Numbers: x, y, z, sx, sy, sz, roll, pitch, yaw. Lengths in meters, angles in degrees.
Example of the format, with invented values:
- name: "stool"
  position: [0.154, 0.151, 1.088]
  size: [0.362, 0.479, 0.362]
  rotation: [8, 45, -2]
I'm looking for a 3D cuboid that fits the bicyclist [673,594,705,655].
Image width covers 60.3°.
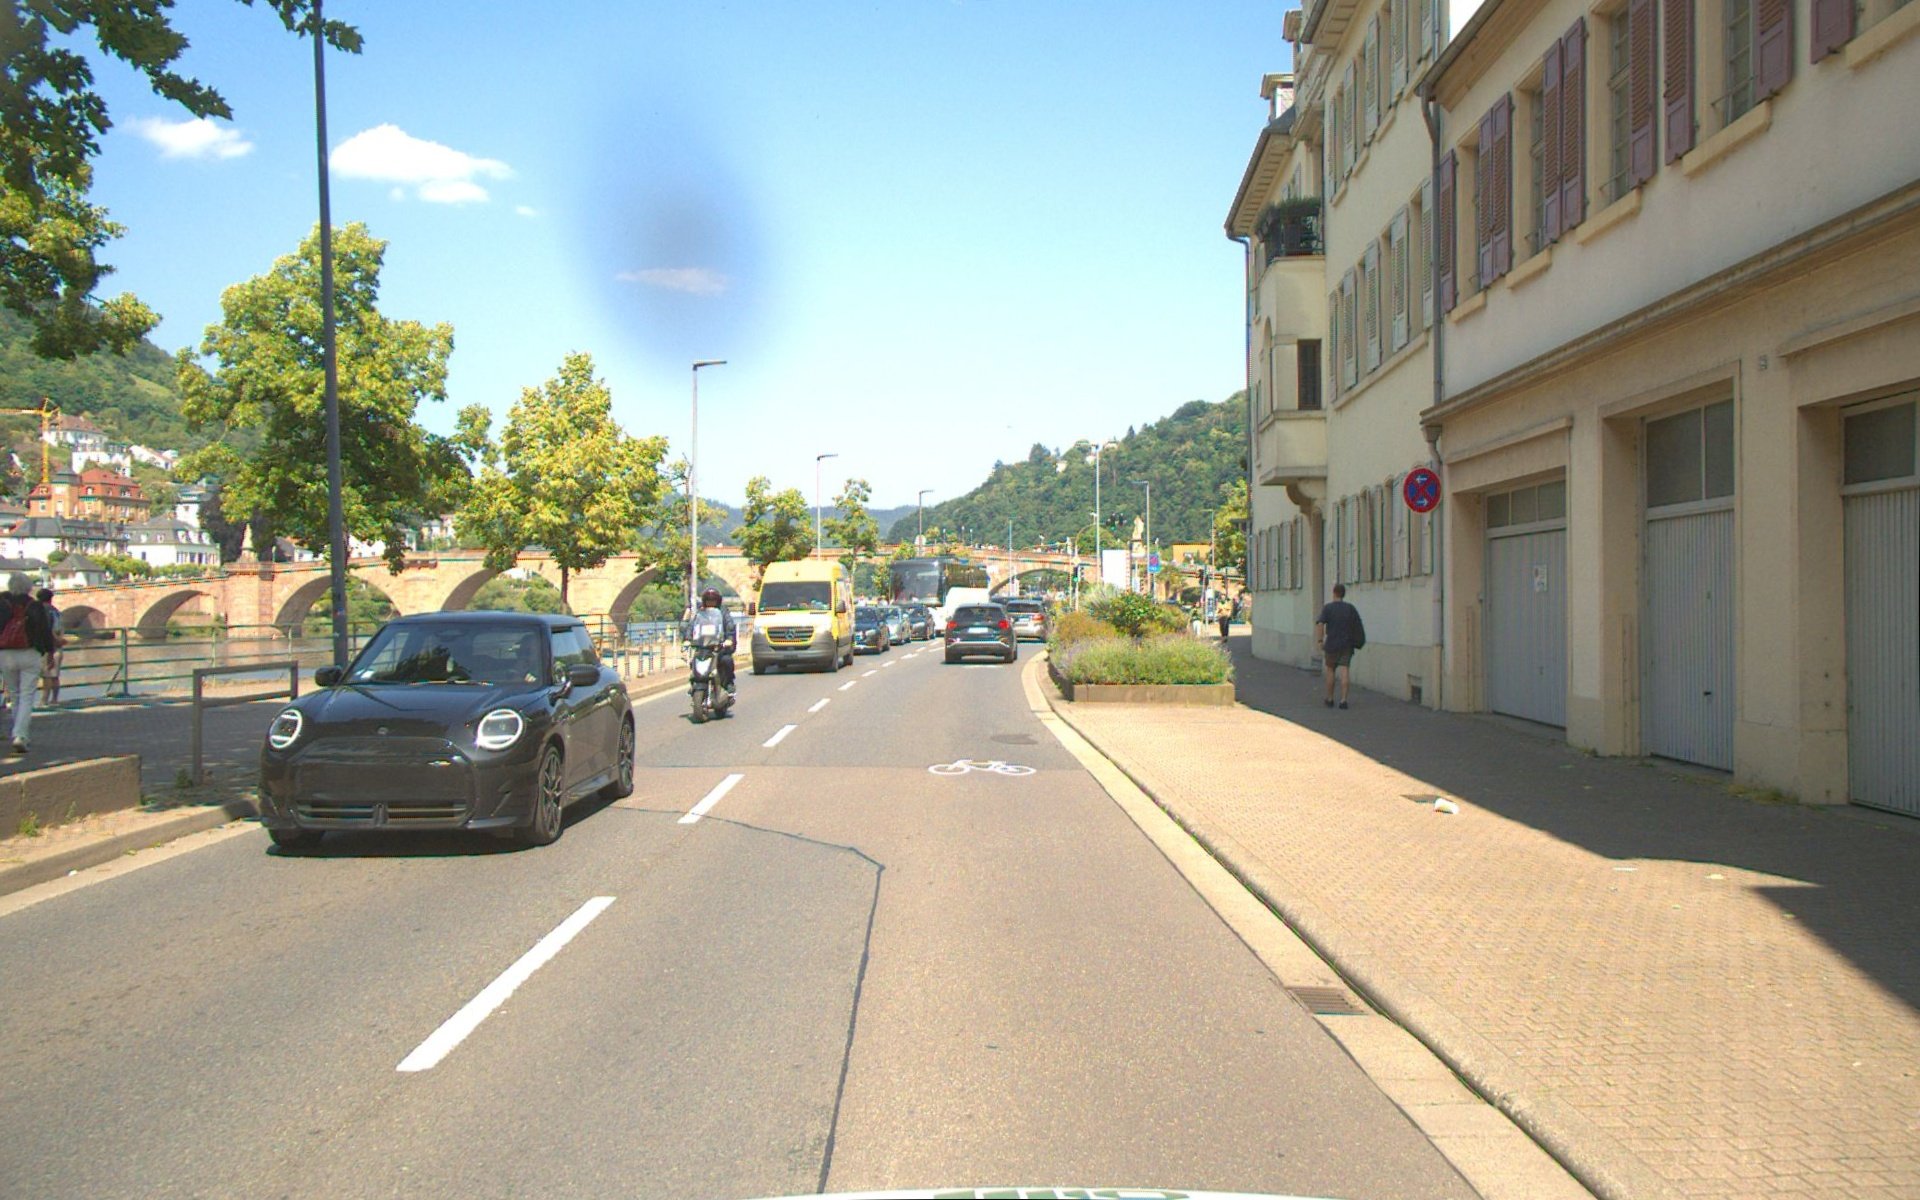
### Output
- name: "bicyclist"
  position: [-7.592, 0.675, 46.358]
  size: [0.725, 1.697, 1.089]
  rotation: [0, 0, 0]

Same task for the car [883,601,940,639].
- name: "car"
  position: [-1.945, 0.812, 67.694]
  size: [1.778, 1.454, 4.195]
  rotation: [-1, 0, 5]

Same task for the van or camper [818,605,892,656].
- name: "van or camper"
  position: [-3.305, 0.942, 52.712]
  size: [1.952, 1.480, 4.683]
  rotation: [-2, -1, 1]

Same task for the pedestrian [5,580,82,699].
- name: "pedestrian"
  position: [-12.831, 0.551, 23.160]
  size: [0.679, 1.644, 0.664]
  rotation: [0, -1, 6]

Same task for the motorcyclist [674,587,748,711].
- name: "motorcyclist"
  position: [-3.298, 0.637, 21.998]
  size: [0.861, 1.611, 1.024]
  rotation: [0, -1, -3]

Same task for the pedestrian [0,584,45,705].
- name: "pedestrian"
  position: [-12.808, 0.601, 22.534]
  size: [0.406, 1.625, 0.451]
  rotation: [0, -1, 6]

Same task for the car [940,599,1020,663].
- name: "car"
  position: [0.579, 0.780, 43.467]
  size: [1.886, 1.580, 4.834]
  rotation: [0, 0, 3]

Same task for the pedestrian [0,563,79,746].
- name: "pedestrian"
  position: [-8.942, 0.514, 15.909]
  size: [0.646, 1.712, 0.754]
  rotation: [2, -1, -19]

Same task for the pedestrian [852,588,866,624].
- name: "pedestrian"
  position: [-5.162, 0.303, 84.786]
  size: [0.607, 1.811, 0.662]
  rotation: [0, 0, 6]

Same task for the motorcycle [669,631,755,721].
- name: "motorcycle"
  position: [-3.253, 0.977, 21.890]
  size: [0.865, 1.096, 2.326]
  rotation: [-1, -1, -3]

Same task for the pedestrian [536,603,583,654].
- name: "pedestrian"
  position: [-10.344, 0.733, 42.746]
  size: [0.916, 1.303, 0.850]
  rotation: [0, -1, 7]

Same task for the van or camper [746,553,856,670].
- name: "van or camper"
  position: [-3.764, 0.292, 40.432]
  size: [2.045, 2.602, 7.090]
  rotation: [0, -1, -1]

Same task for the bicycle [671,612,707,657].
- name: "bicycle"
  position: [-7.598, 0.957, 46.484]
  size: [0.697, 1.189, 1.896]
  rotation: [0, 0, 0]

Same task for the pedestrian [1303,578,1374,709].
- name: "pedestrian"
  position: [5.259, 0.600, 23.010]
  size: [0.746, 1.743, 0.696]
  rotation: [-3, -1, 1]

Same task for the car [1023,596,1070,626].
- name: "car"
  position: [4.432, 0.550, 84.073]
  size: [1.885, 1.487, 4.836]
  rotation: [0, 0, 8]

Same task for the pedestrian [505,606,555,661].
- name: "pedestrian"
  position: [-10.393, 0.810, 39.968]
  size: [0.916, 1.303, 0.850]
  rotation: [0, -1, 7]

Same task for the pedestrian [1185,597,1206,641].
- name: "pedestrian"
  position: [8.711, 0.695, 61.275]
  size: [0.745, 1.623, 0.696]
  rotation: [0, 0, 6]

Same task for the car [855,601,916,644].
- name: "car"
  position: [-2.736, 0.806, 61.811]
  size: [1.775, 1.453, 4.313]
  rotation: [-2, 0, 4]

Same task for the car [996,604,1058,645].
- name: "car"
  position: [2.554, 0.895, 62.217]
  size: [1.885, 1.487, 4.836]
  rotation: [0, 0, 8]

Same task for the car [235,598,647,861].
- name: "car"
  position: [-3.360, 0.758, 11.510]
  size: [1.666, 1.484, 4.001]
  rotation: [-1, 0, -1]

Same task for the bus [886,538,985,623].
- name: "bus"
  position: [-0.952, -0.774, 78.194]
  size: [2.575, 3.627, 12.992]
  rotation: [0, -1, 9]

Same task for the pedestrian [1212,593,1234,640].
- name: "pedestrian"
  position: [9.711, 0.605, 61.065]
  size: [0.722, 1.728, 0.934]
  rotation: [-1, -1, 6]
